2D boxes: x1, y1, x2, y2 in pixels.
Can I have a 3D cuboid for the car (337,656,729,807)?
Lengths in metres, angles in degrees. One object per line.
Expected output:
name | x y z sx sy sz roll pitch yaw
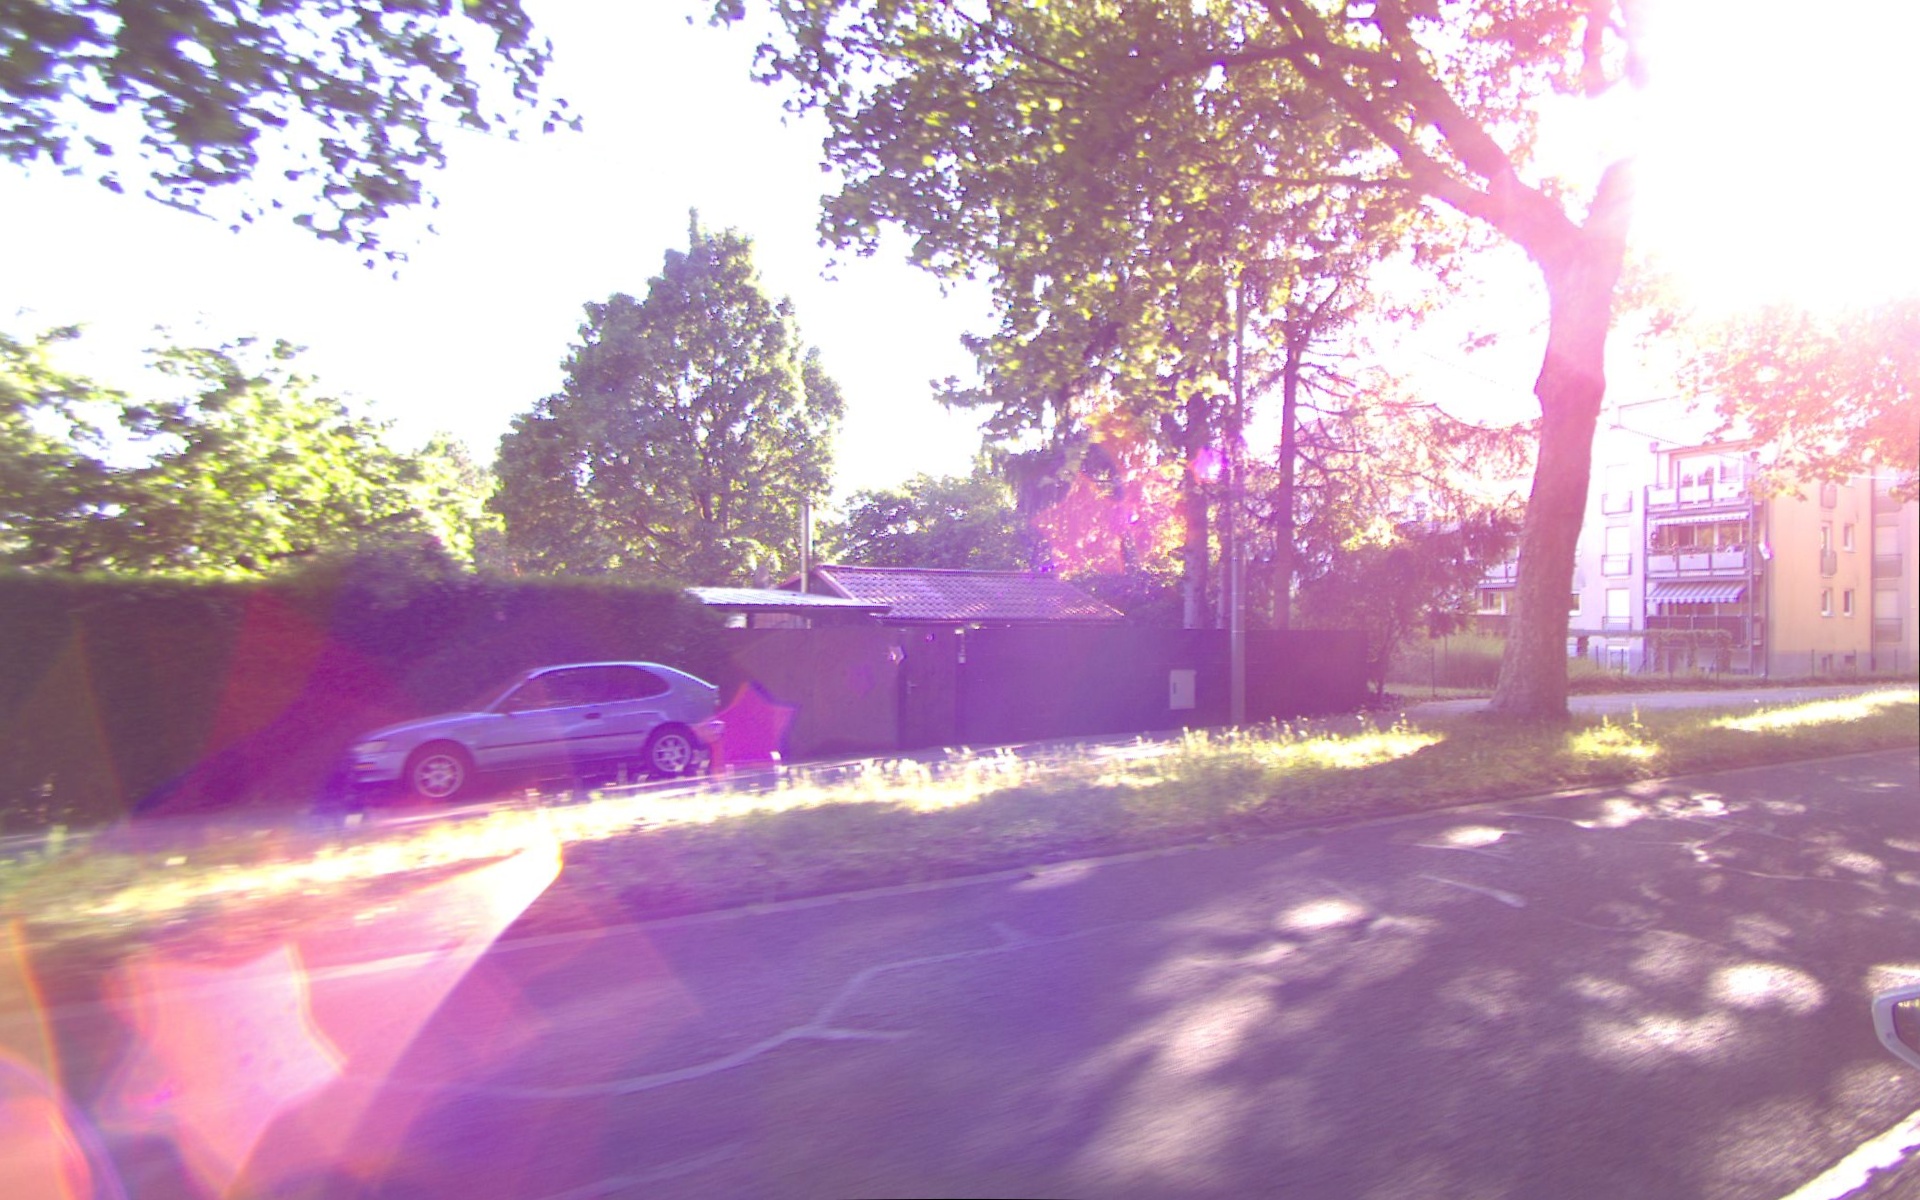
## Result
car | -4.888 1.389 11.674 3.959 1.321 1.741 0 -1 -34
